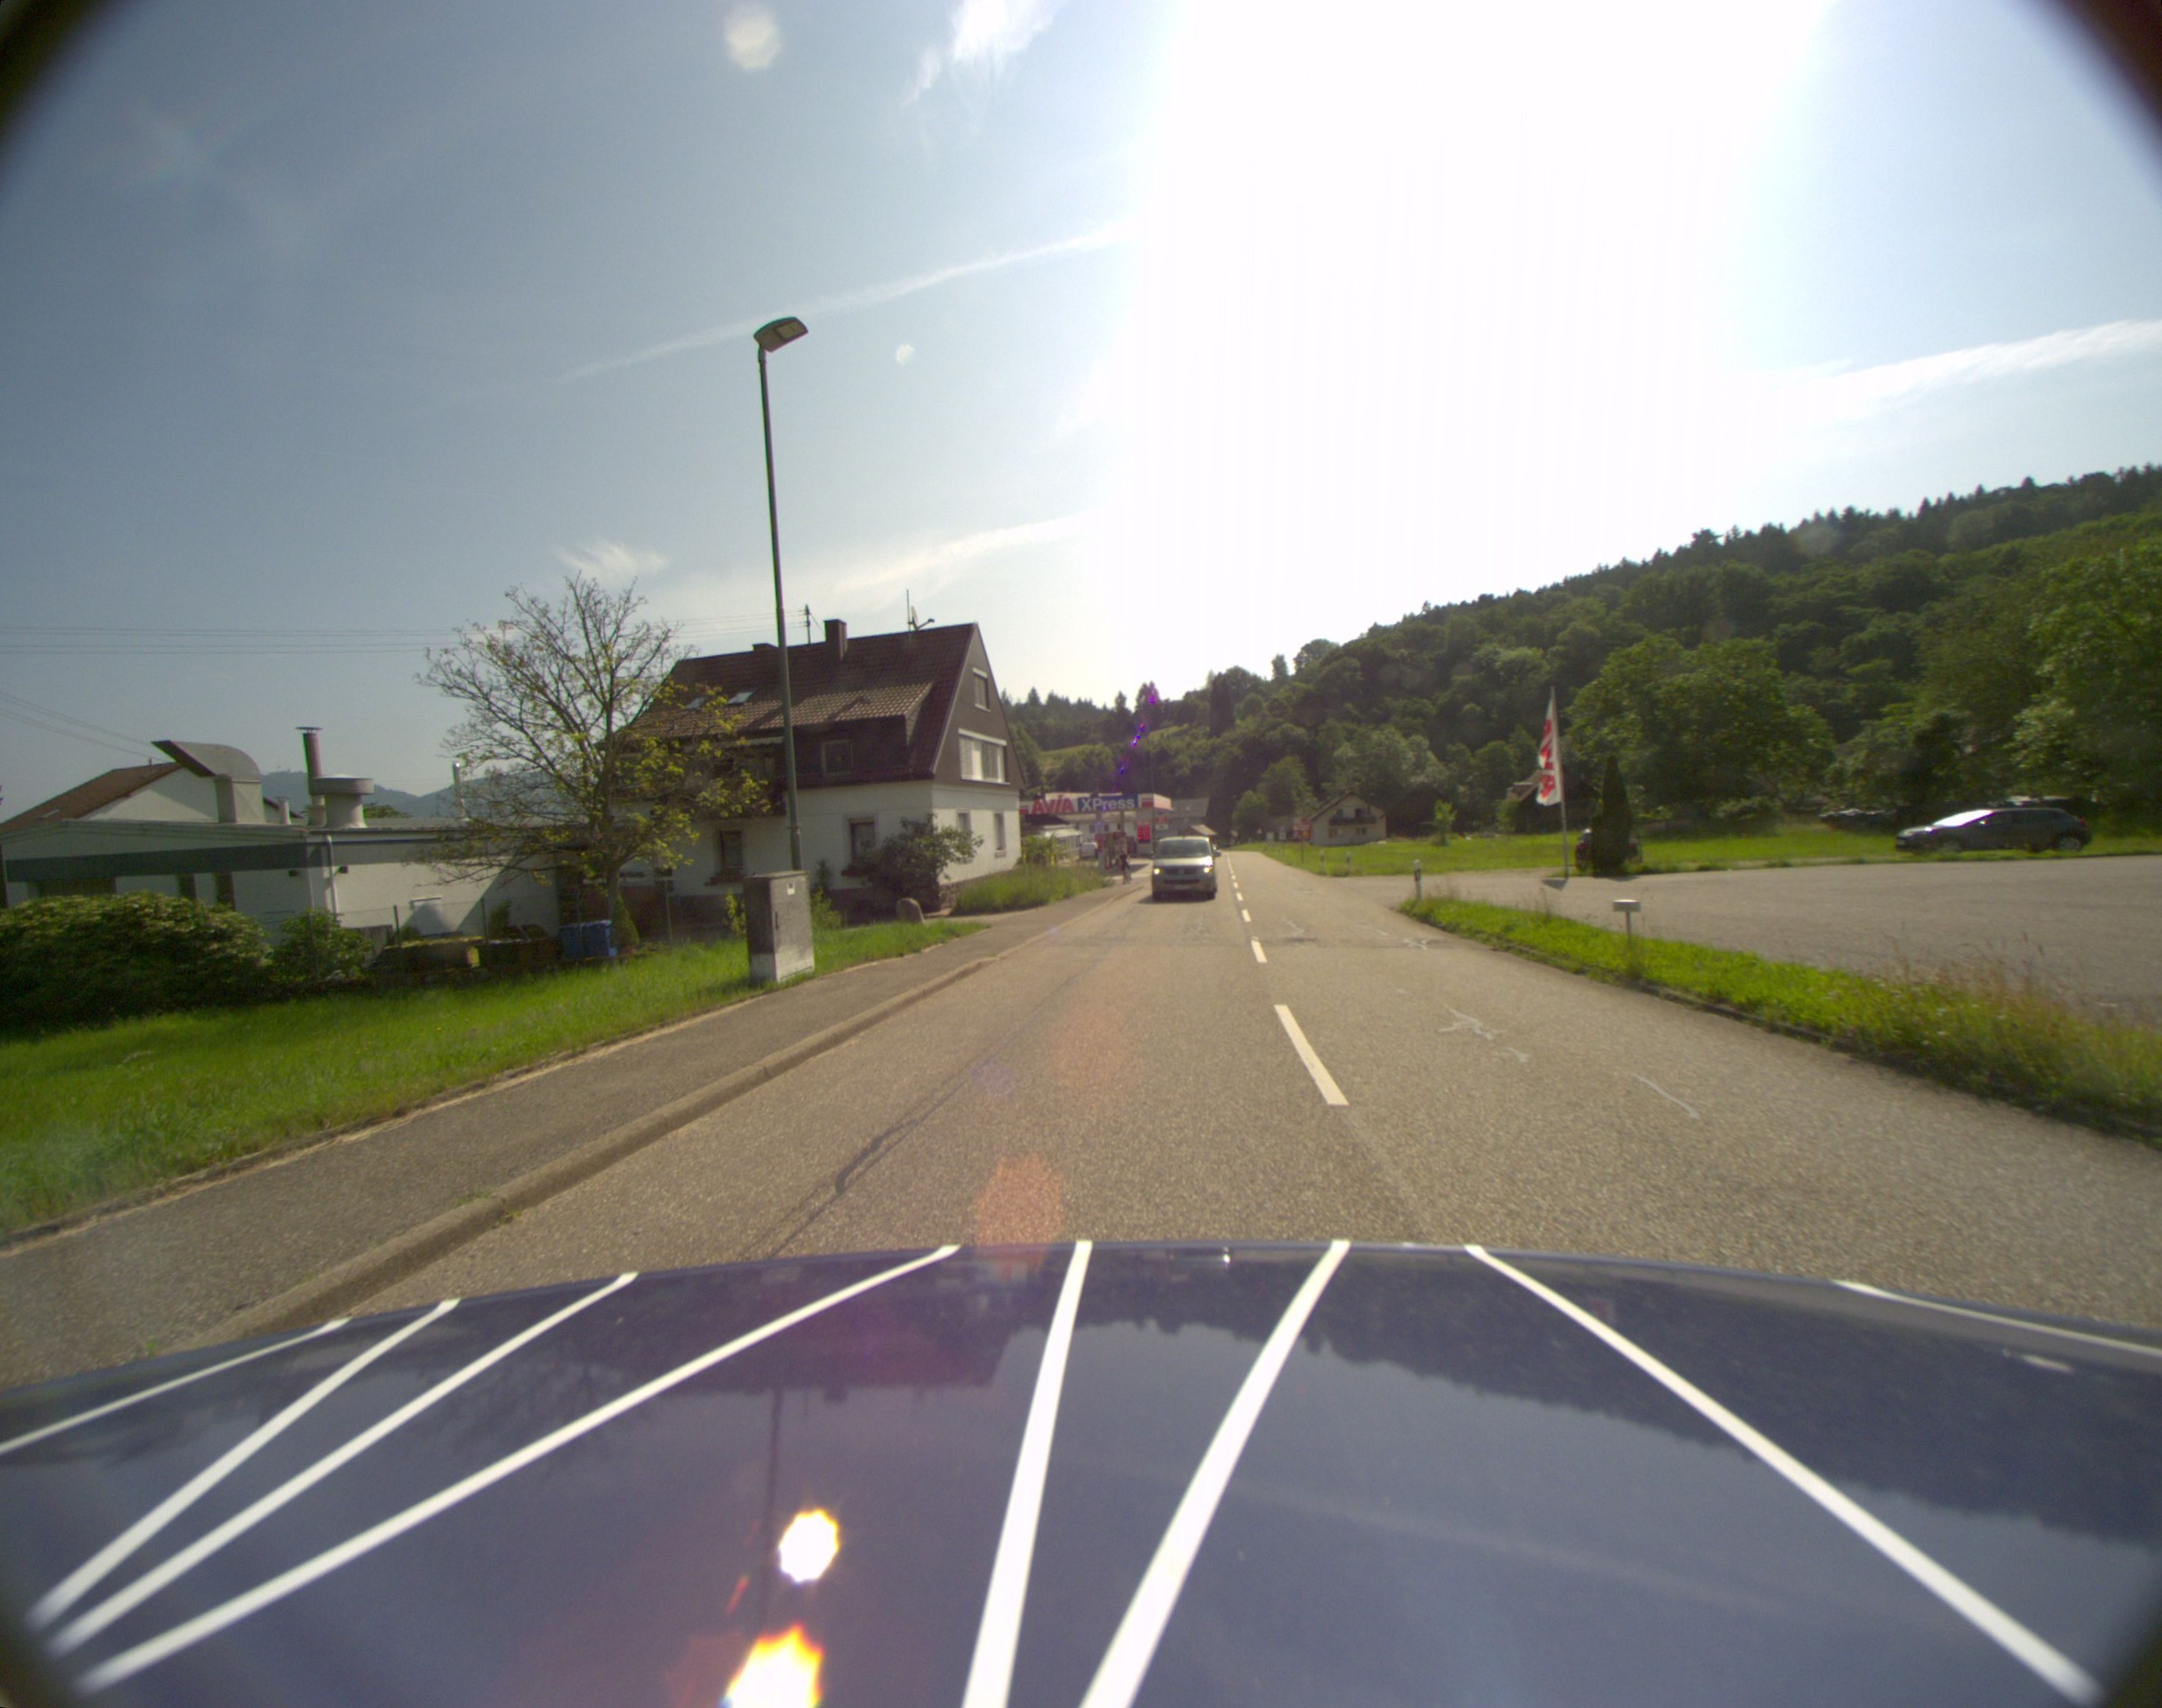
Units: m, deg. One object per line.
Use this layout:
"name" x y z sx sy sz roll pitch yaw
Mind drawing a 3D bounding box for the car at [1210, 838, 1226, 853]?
"car" 17.599 -1.123 97.379 1.766 1.736 3.982 -4 2 12

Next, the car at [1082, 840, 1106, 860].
"car" 1.333 -0.436 77.186 1.683 1.805 4.002 -4 1 10

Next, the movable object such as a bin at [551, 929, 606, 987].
"movable object such as a bin" -11.137 2.296 16.869 0.569 1.112 0.798 -5 2 1

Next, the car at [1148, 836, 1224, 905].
"car" 3.483 0.439 24.382 2.022 1.970 5.052 -1 1 12

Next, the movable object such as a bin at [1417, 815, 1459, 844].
"movable object such as a bin" 41.426 -2.848 88.284 4.183 3.119 2.206 -3 1 25

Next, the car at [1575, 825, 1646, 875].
"car" 20.046 -0.208 28.659 1.831 1.639 4.917 -3 0 39

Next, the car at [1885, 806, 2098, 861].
"car" 29.159 -0.626 24.523 3.924 1.476 1.920 -3 0 26

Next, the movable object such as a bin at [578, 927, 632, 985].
"movable object such as a bin" -10.545 2.247 16.864 0.569 1.112 0.793 -5 2 1

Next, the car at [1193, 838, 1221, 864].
"car" 9.722 -0.239 58.974 1.895 1.846 4.705 -3 1 7

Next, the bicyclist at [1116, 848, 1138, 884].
"bicyclist" 2.194 0.592 36.430 0.690 1.623 1.140 -5 -1 -10

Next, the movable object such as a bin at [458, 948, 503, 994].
"movable object such as a bin" -13.356 2.587 16.909 0.420 0.895 0.586 -5 2 1

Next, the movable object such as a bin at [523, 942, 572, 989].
"movable object such as a bin" -11.836 2.463 16.868 0.569 0.895 0.586 -5 2 1

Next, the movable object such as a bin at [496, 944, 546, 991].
"movable object such as a bin" -12.424 2.511 16.873 0.569 0.895 0.586 -5 2 1

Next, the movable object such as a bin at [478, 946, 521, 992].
"movable object such as a bin" -12.925 2.552 16.894 0.420 0.895 0.586 -5 2 1

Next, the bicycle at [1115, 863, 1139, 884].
"bicycle" 2.194 0.963 36.496 0.690 0.912 1.949 -5 -1 -10
